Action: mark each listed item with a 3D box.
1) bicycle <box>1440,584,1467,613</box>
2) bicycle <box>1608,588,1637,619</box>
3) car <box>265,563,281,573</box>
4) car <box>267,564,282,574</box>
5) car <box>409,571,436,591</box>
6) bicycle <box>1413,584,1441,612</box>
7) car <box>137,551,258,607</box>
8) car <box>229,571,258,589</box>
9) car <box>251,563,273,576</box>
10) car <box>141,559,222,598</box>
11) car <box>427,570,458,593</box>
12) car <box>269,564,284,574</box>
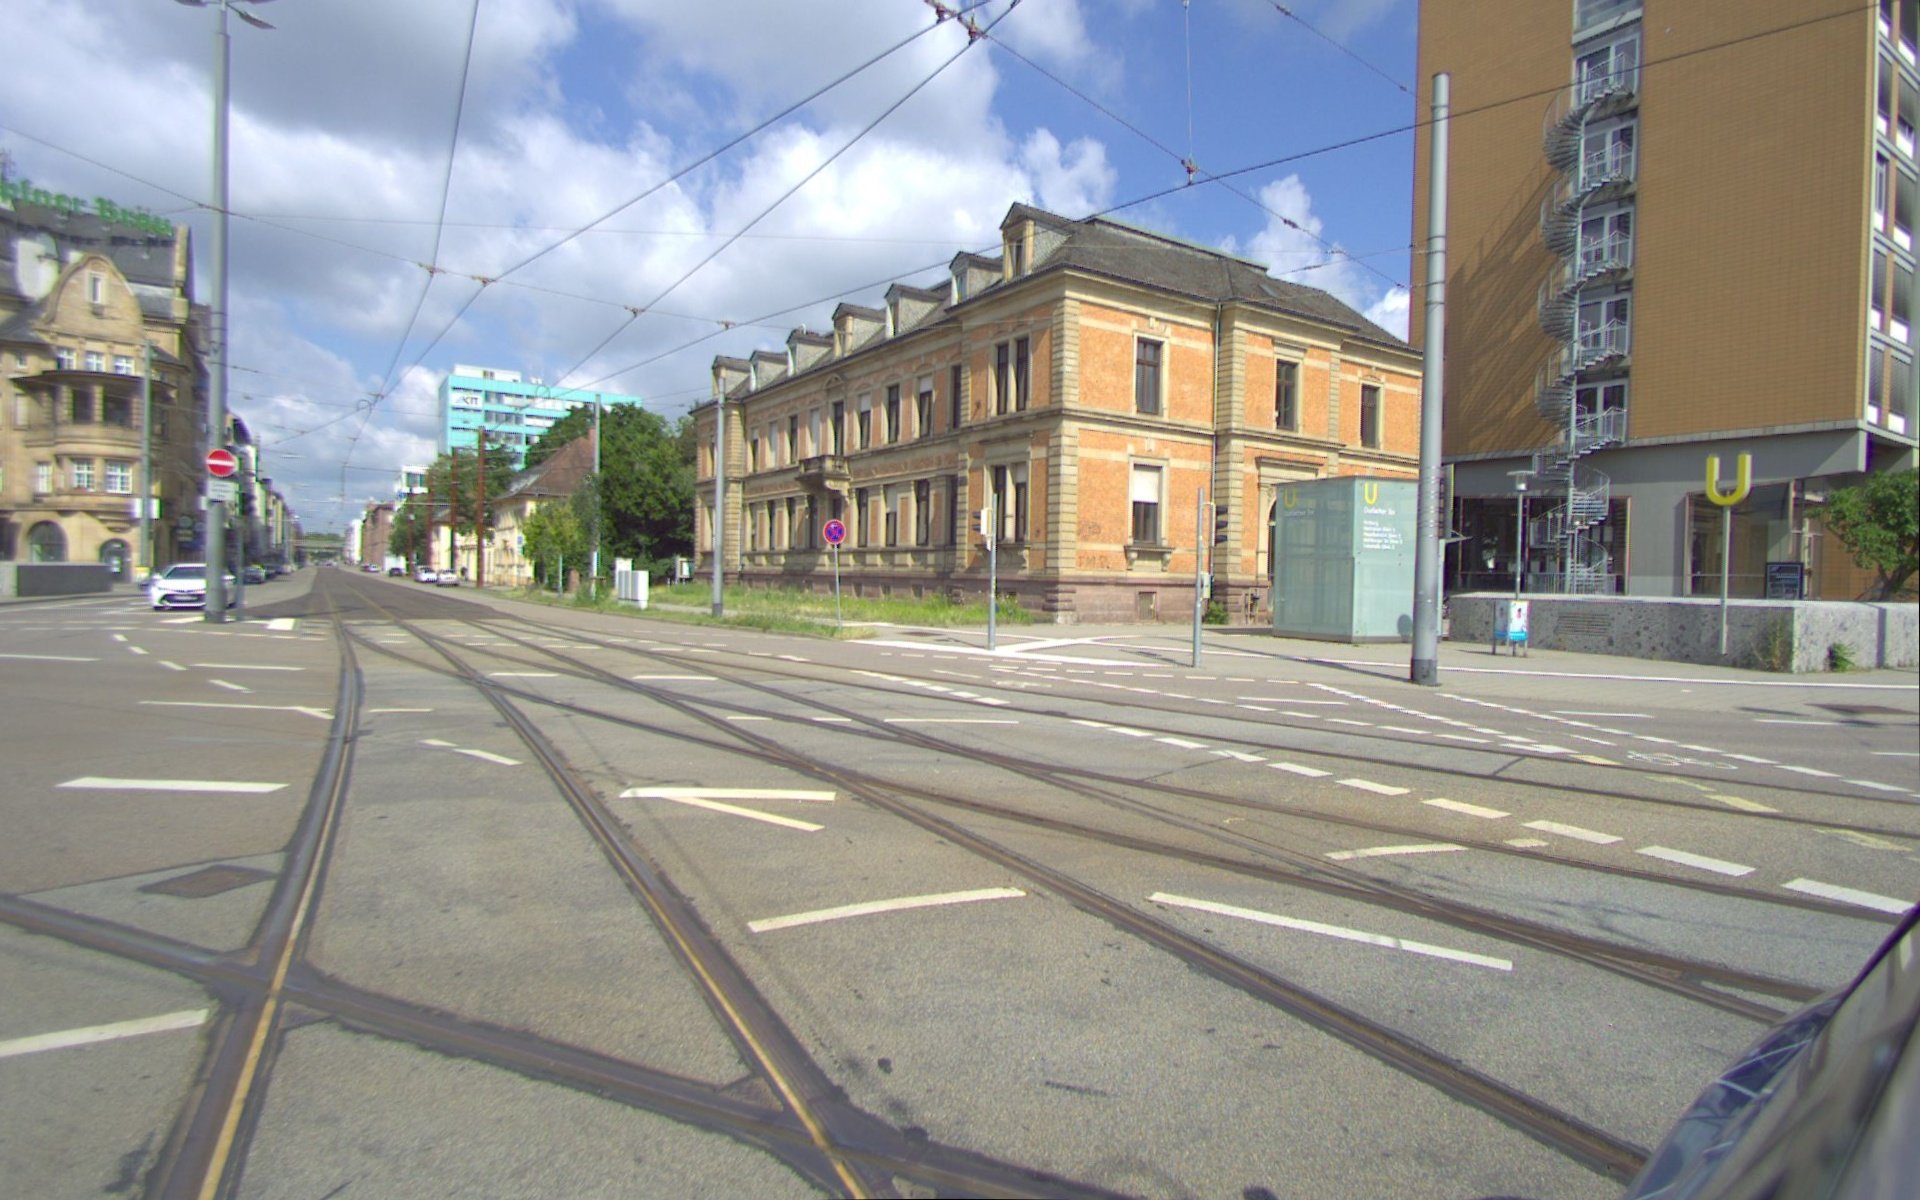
[{"bbox_3d":[22.228,-0.065,45.574,1.446,1.263,0.428,0,1,-34],"label":"bicycle"},{"bbox_3d":[26.984,0.141,41.197,1.446,1.263,0.428,0,1,-34],"label":"bicycle"},{"bbox_3d":[-99.451,-4.604,146.542,1.834,1.402,4.000,1,-1,-35],"label":"car"},{"bbox_3d":[-103.138,-4.604,152.207,1.834,1.402,4.000,1,-1,-35],"label":"car"},{"bbox_3d":[-57.969,-2.039,109.138,1.963,2.039,3.998,1,-1,-36],"label":"car"},{"bbox_3d":[21.523,-0.097,46.628,1.446,1.263,0.428,0,1,-34],"label":"bicycle"},{"bbox_3d":[-23.891,-0.605,31.916,1.916,1.616,4.514,1,0,-22],"label":"car"},{"bbox_3d":[-58.376,-1.606,82.453,1.834,1.402,4.000,1,-1,-35],"label":"car"},{"bbox_3d":[-74.910,-3.275,108.606,1.834,1.401,4.001,0,2,-35],"label":"car"},{"bbox_3d":[-34.332,-0.919,44.735,1.800,1.616,4.007,1,0,-22],"label":"car"},{"bbox_3d":[-47.808,-1.671,93.423,1.963,2.039,3.998,1,-1,-36],"label":"car"},{"bbox_3d":[-107.123,-4.815,158.555,1.834,1.402,4.000,1,-1,-35],"label":"car"}]
